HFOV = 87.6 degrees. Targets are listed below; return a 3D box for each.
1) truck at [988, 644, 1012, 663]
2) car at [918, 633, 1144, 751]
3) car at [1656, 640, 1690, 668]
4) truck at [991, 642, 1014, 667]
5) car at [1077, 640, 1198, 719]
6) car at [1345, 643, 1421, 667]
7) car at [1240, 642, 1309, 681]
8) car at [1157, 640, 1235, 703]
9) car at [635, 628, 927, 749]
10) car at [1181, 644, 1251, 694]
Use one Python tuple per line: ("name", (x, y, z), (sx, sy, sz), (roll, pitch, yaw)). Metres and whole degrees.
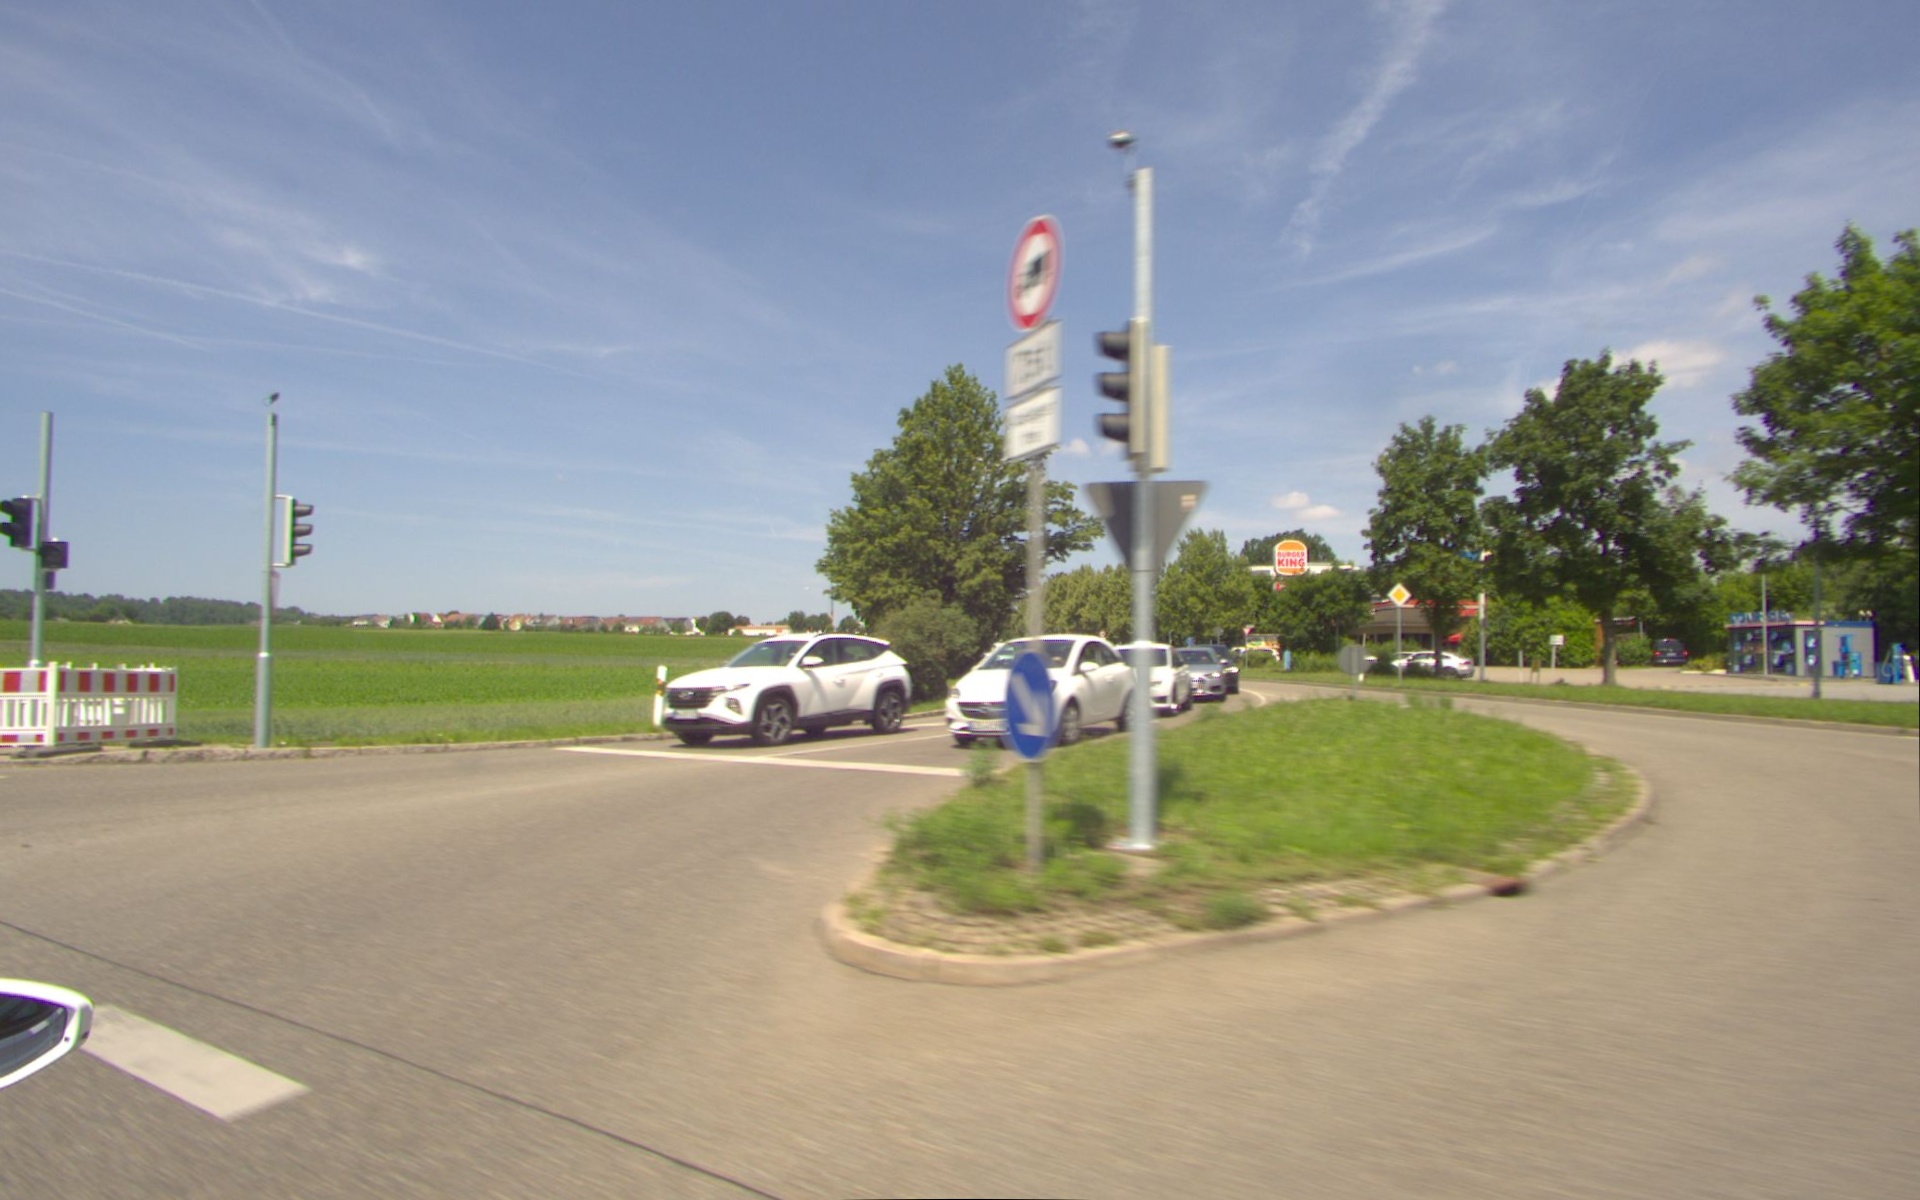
("truck", (4.291, 5.790, 108.459), (1.766, 2.000, 5.478), (-1, -3, -7))
("car", (1.167, 1.228, 14.372), (1.800, 1.436, 3.959), (-2, -3, 27))
("car", (49.871, 3.747, 70.059), (1.814, 1.861, 3.978), (-2, -2, 34))
("truck", (4.552, 5.807, 107.168), (1.961, 2.630, 4.003), (-1, -3, -4))
("car", (3.776, 1.578, 20.763), (1.770, 1.437, 4.099), (-2, -2, 20))
("car", (29.435, 3.848, 69.751), (1.860, 1.578, 4.458), (2, -4, -45))
("car", (14.797, 2.891, 47.393), (1.830, 1.713, 4.529), (-1, -2, 0))
("car", (6.409, 1.907, 26.875), (1.768, 1.528, 4.559), (-2, -4, 17))
("car", (-2.641, 1.345, 15.930), (1.971, 1.627, 4.618), (-3, -4, 33))
("car", (8.567, 2.291, 33.228), (1.770, 1.528, 4.557), (-2, -4, 20))
